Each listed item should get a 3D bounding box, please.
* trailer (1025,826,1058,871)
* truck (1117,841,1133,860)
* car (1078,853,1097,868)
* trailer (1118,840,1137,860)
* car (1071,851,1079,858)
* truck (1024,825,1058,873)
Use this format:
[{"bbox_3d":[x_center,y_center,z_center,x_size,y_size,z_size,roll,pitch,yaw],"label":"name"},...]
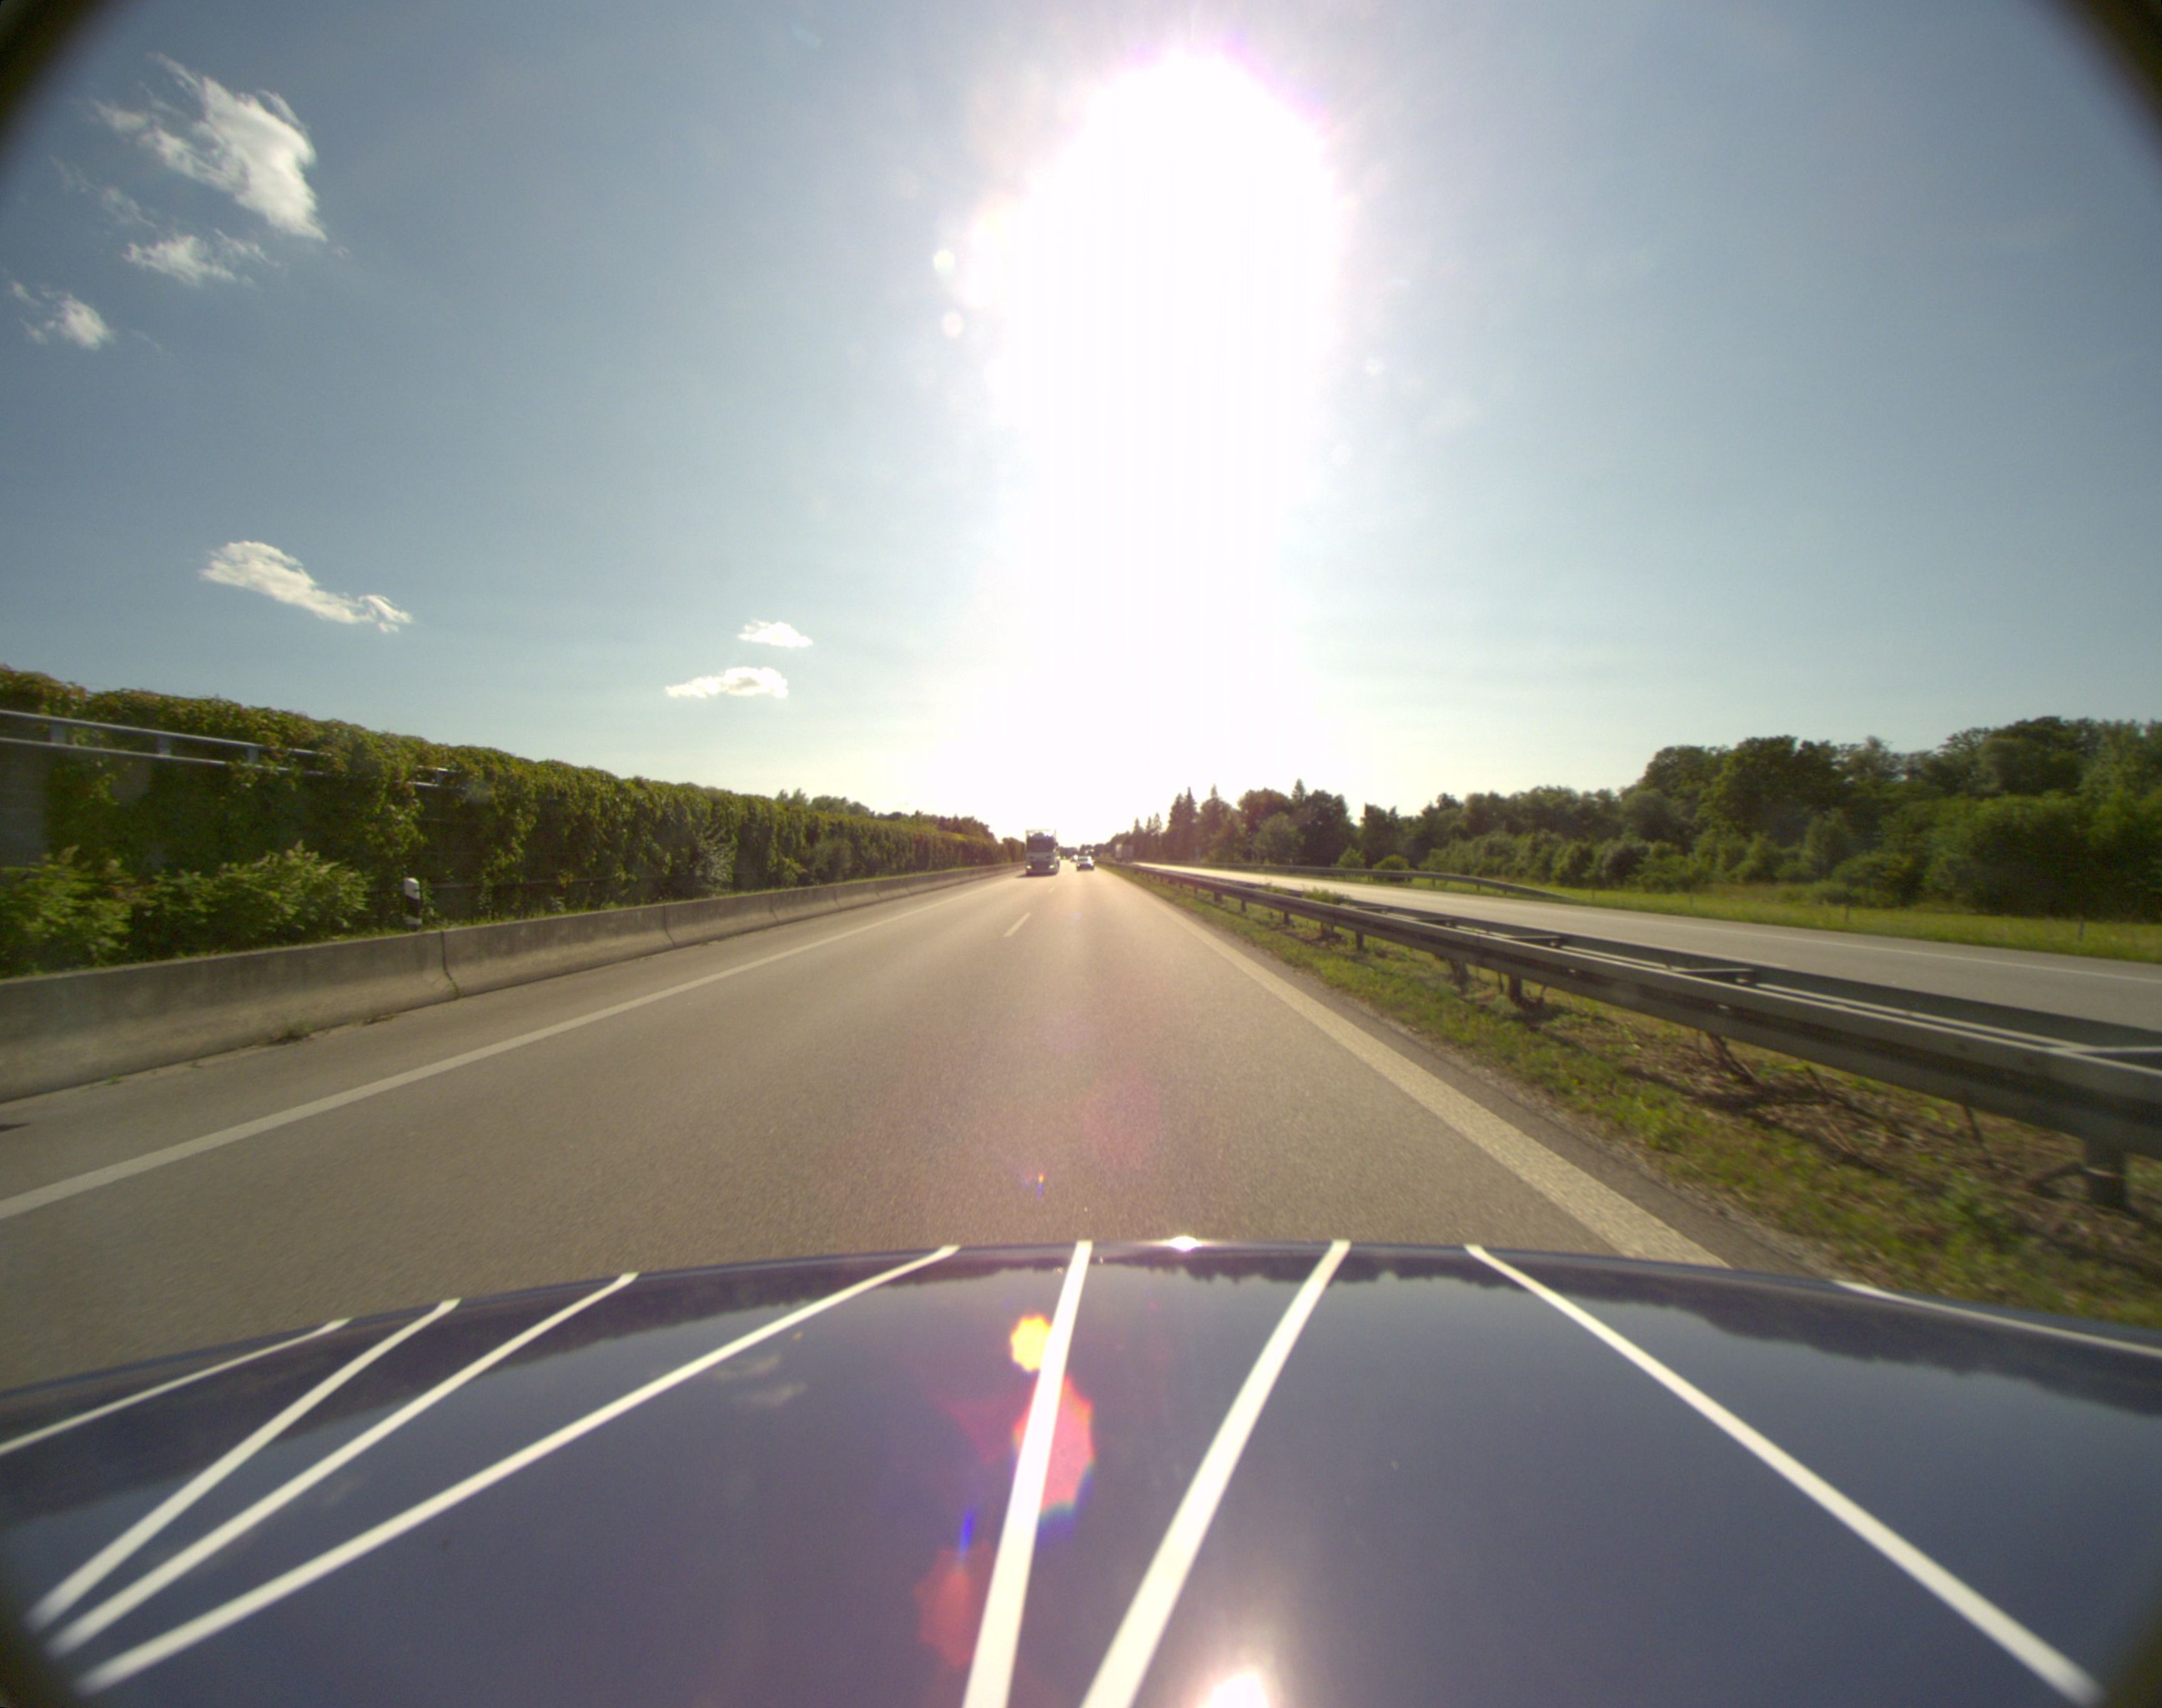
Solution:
[{"bbox_3d":[-3.687,-0.449,73.339,2.826,3.943,14.157,0,0,-2],"label":"trailer"},{"bbox_3d":[10.096,-0.764,173.901,3.164,4.077,7.734,1,0,-1],"label":"truck"},{"bbox_3d":[0.626,0.636,79.050,1.871,1.514,4.283,1,0,-1],"label":"car"},{"bbox_3d":[10.154,-0.893,166.970,3.159,4.100,13.439,1,0,0],"label":"trailer"},{"bbox_3d":[-1.527,0.165,182.180,1.742,1.514,3.999,-1,1,-2],"label":"car"},{"bbox_3d":[-3.442,-0.410,66.557,2.848,3.943,7.042,0,0,-2],"label":"truck"}]
